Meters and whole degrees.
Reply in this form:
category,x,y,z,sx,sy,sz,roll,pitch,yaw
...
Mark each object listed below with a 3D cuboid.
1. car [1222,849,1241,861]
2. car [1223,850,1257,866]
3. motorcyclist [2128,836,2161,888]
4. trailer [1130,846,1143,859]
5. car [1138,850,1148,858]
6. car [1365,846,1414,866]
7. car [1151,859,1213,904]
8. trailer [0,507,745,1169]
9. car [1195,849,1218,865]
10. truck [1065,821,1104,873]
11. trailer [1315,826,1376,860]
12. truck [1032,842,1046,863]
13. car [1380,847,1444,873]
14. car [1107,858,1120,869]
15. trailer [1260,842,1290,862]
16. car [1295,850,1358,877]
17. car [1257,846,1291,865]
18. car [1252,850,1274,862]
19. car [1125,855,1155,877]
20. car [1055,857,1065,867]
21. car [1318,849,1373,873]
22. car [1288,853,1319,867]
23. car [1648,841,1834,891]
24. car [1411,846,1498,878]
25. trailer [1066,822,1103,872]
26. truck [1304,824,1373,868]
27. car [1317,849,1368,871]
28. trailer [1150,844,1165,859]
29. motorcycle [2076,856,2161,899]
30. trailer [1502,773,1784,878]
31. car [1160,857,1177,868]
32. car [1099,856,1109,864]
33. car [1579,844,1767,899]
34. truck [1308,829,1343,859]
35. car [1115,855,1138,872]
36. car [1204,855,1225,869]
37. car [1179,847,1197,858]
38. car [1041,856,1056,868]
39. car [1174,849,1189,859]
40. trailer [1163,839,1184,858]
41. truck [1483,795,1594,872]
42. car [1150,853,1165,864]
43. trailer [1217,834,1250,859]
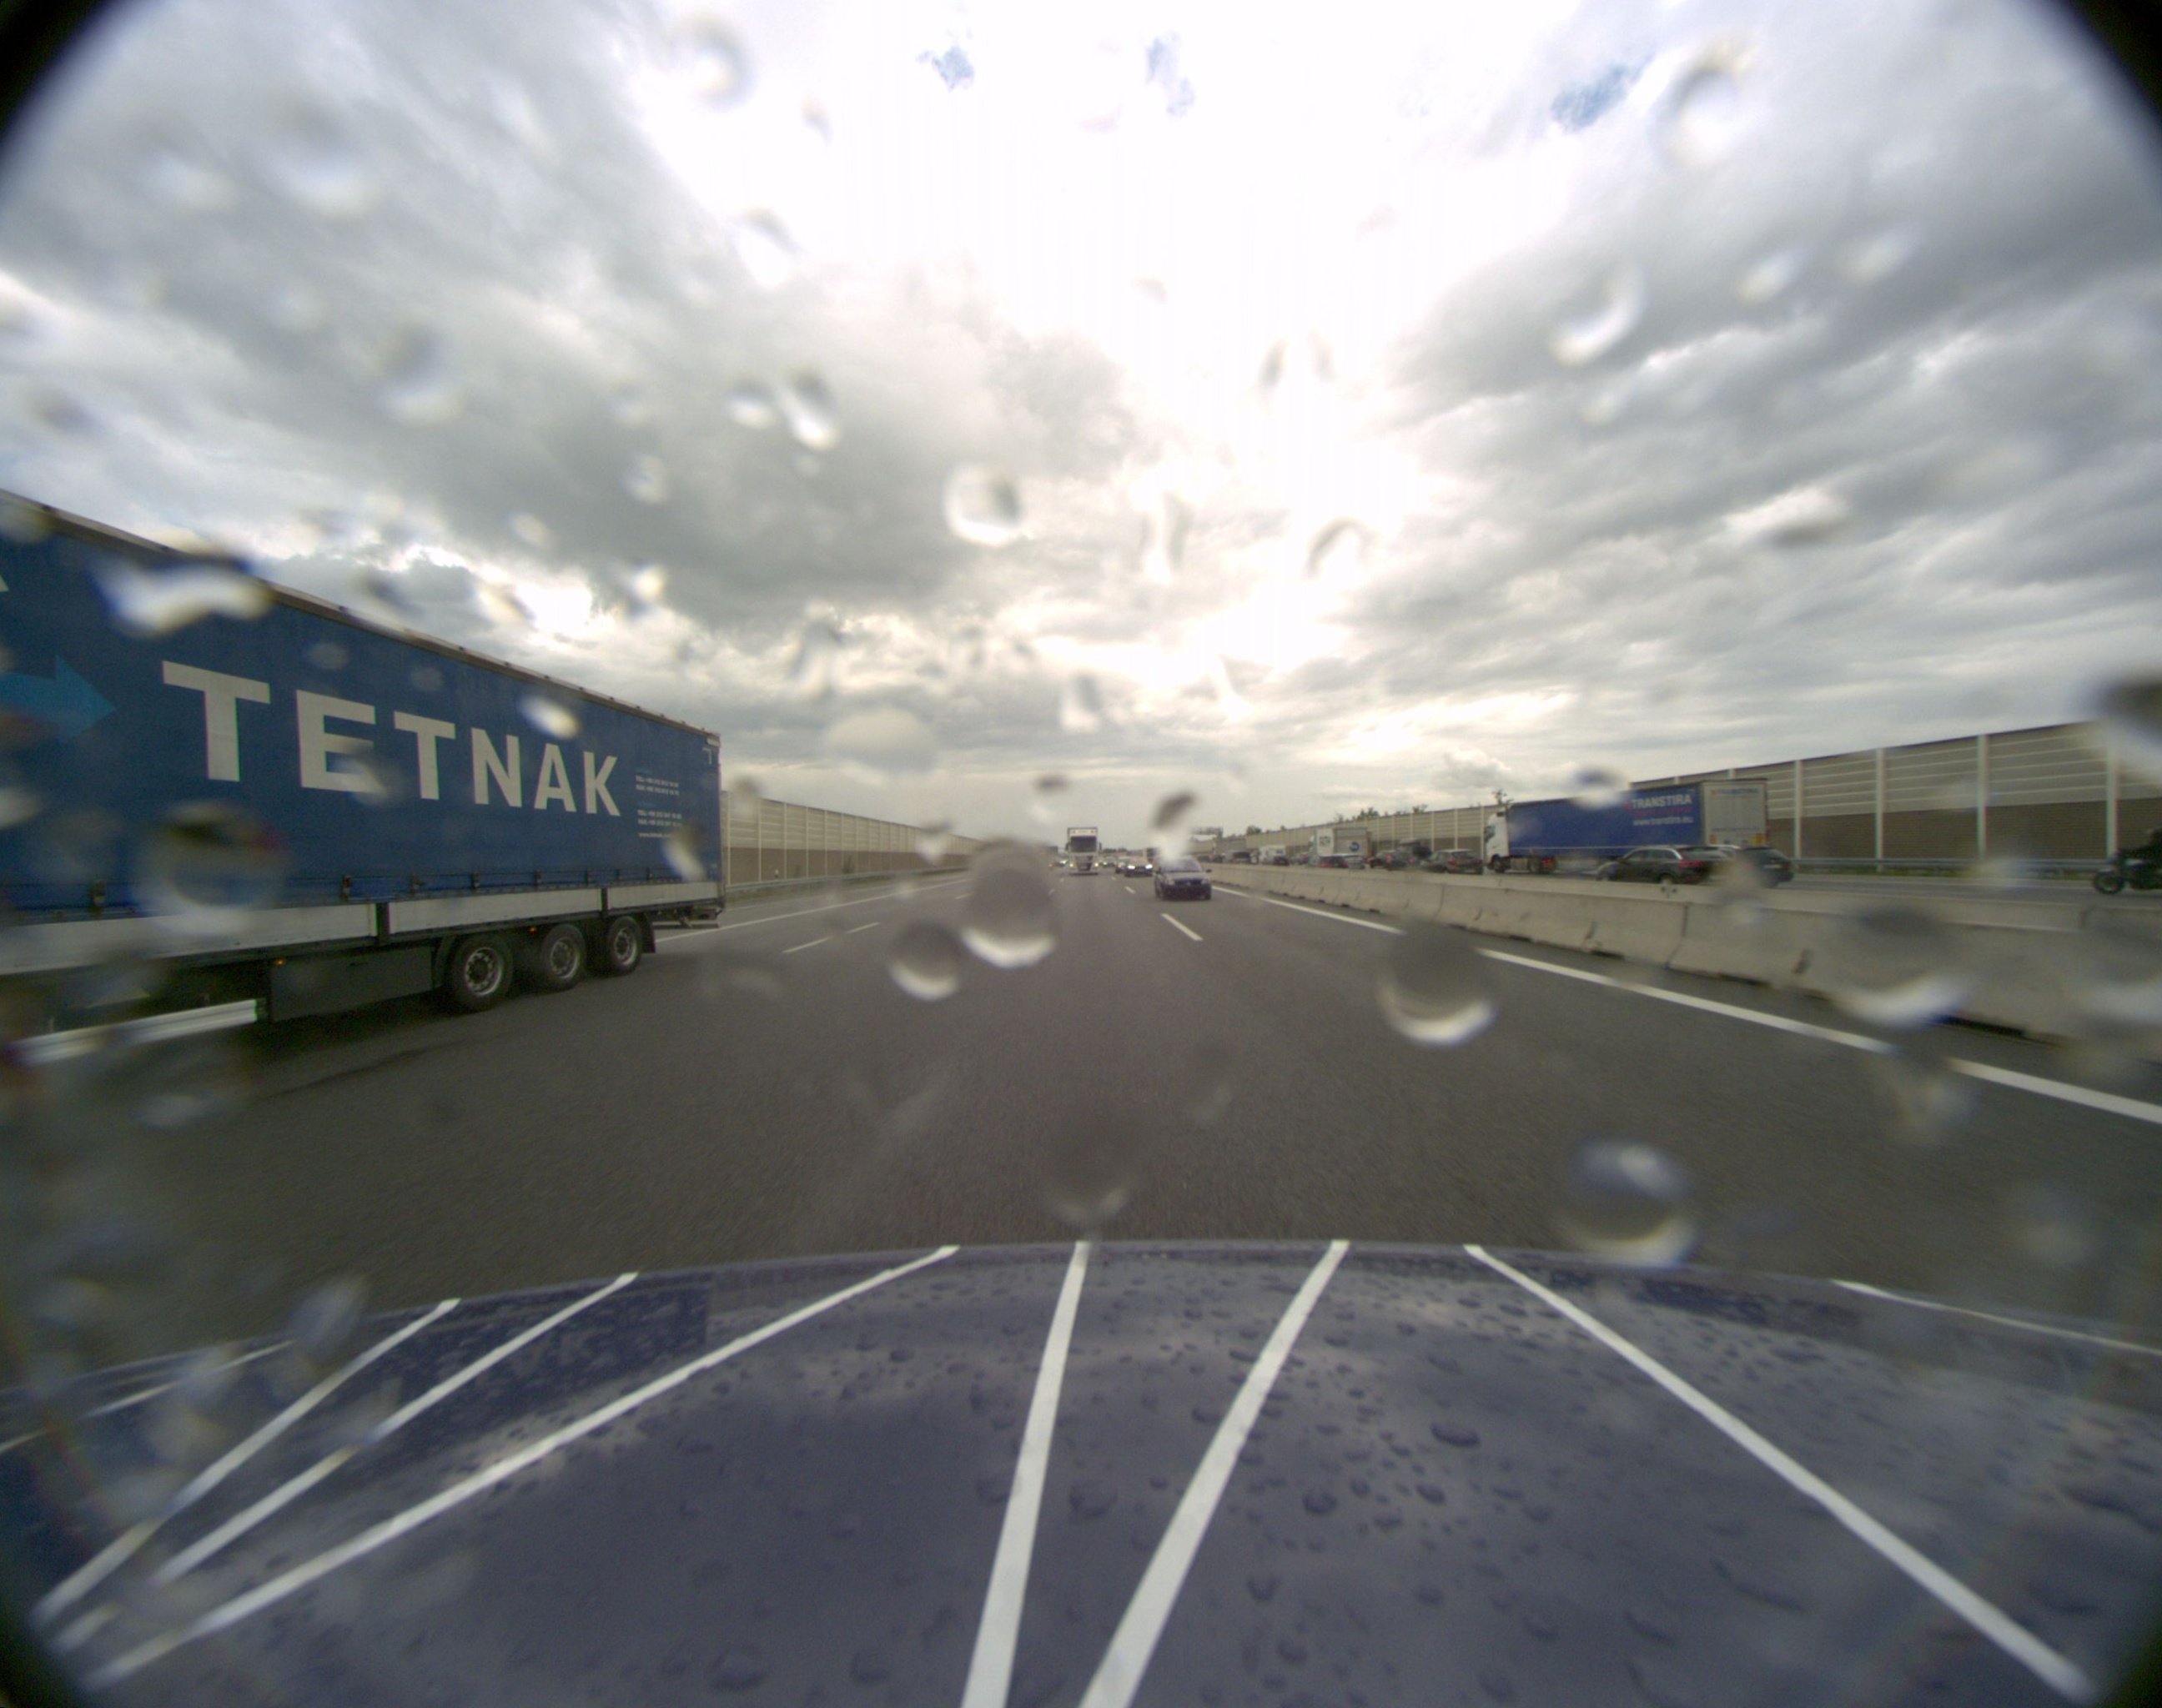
category,x,y,z,sx,sy,sz,roll,pitch,yaw
car,23.192,0.198,117.210,1.960,1.689,4.410,-2,0,-2
car,14.462,0.360,69.373,1.878,1.291,5.600,-2,0,-1
motorcyclist,25.732,0.177,18.035,0.638,1.217,0.796,-3,0,1
trailer,18.666,-0.389,255.992,3.066,4.136,14.314,-2,0,-1
car,16.673,0.064,205.465,2.066,1.990,5.807,-2,0,-2
car,26.166,0.147,64.649,2.065,1.590,4.997,-1,1,0
car,3.409,0.887,26.311,1.578,1.395,4.000,-2,0,0
trailer,-7.930,-0.076,7.485,2.768,4.008,14.452,-2,0,0
car,14.428,0.370,87.603,1.878,1.689,4.221,-2,0,-1
truck,0.342,-0.577,64.811,2.913,4.146,5.193,-3,0,3
trailer,33.328,-1.310,96.570,2.943,4.008,13.859,-2,0,0
truck,-8.426,-0.304,154.185,2.600,4.088,11.369,-2,0,-2
car,21.906,0.380,50.549,2.065,1.590,4.997,-1,1,0
car,4.365,1.237,103.102,1.498,1.395,4.000,-2,0,0
trailer,26.225,-0.236,103.157,2.465,2.480,6.085,-2,0,0
car,14.362,0.509,44.747,2.065,1.482,4.996,-1,0,0
car,18.261,0.193,72.017,1.878,1.689,5.015,-2,0,-1
car,26.269,0.302,109.652,1.960,1.689,4.660,-2,0,0
car,4.202,0.809,54.599,1.776,1.451,4.480,-2,0,0
car,-3.356,1.293,124.110,1.498,1.395,4.000,-2,0,0
car,18.460,0.454,53.306,2.065,1.590,4.997,-1,1,0
car,26.860,0.728,91.849,2.066,1.689,5.088,-2,0,-1
car,22.057,0.337,25.743,2.065,1.482,4.997,-1,0,2
car,18.689,0.356,38.332,2.065,1.482,4.997,-1,0,2
trailer,0.515,-0.589,71.409,2.925,4.188,13.198,-3,0,2
truck,22.436,-0.637,66.843,2.703,3.506,9.996,-3,0,1
car,19.067,0.402,55.637,2.065,1.482,4.997,-1,0,1
trailer,20.976,-0.685,207.953,2.938,3.916,10.119,-2,0,0
motorcycle,25.762,0.552,18.264,0.519,1.001,2.431,-3,0,1
trailer,25.762,-1.100,36.630,2.768,4.008,14.452,-2,0,0
car,13.643,1.304,118.081,1.960,1.689,4.410,-2,0,-2
car,3.912,1.021,129.357,1.498,1.395,4.000,-2,0,0
car,18.090,0.465,23.609,2.065,1.482,4.997,-1,0,2
truck,33.318,-1.320,103.696,2.924,4.011,5.725,-2,0,0
car,3.930,0.770,66.586,1.732,1.395,4.000,-2,0,0
car,18.087,1.076,103.298,1.960,1.689,4.410,-2,0,-2
car,17.979,-0.204,128.170,2.066,1.805,5.113,-2,0,-2
car,-3.918,0.929,92.123,1.698,1.395,4.000,-2,0,-1
car,18.587,0.084,140.879,2.066,1.805,4.778,-2,0,-2
trailer,21.441,-1.239,176.604,2.768,4.008,14.450,-2,0,-1
truck,25.746,-1.100,43.111,2.752,4.011,5.725,-2,0,0
car,13.216,0.793,132.041,1.960,1.689,4.892,-2,0,-2
trailer,26.352,-1.297,132.360,2.768,4.008,14.452,-2,0,0
